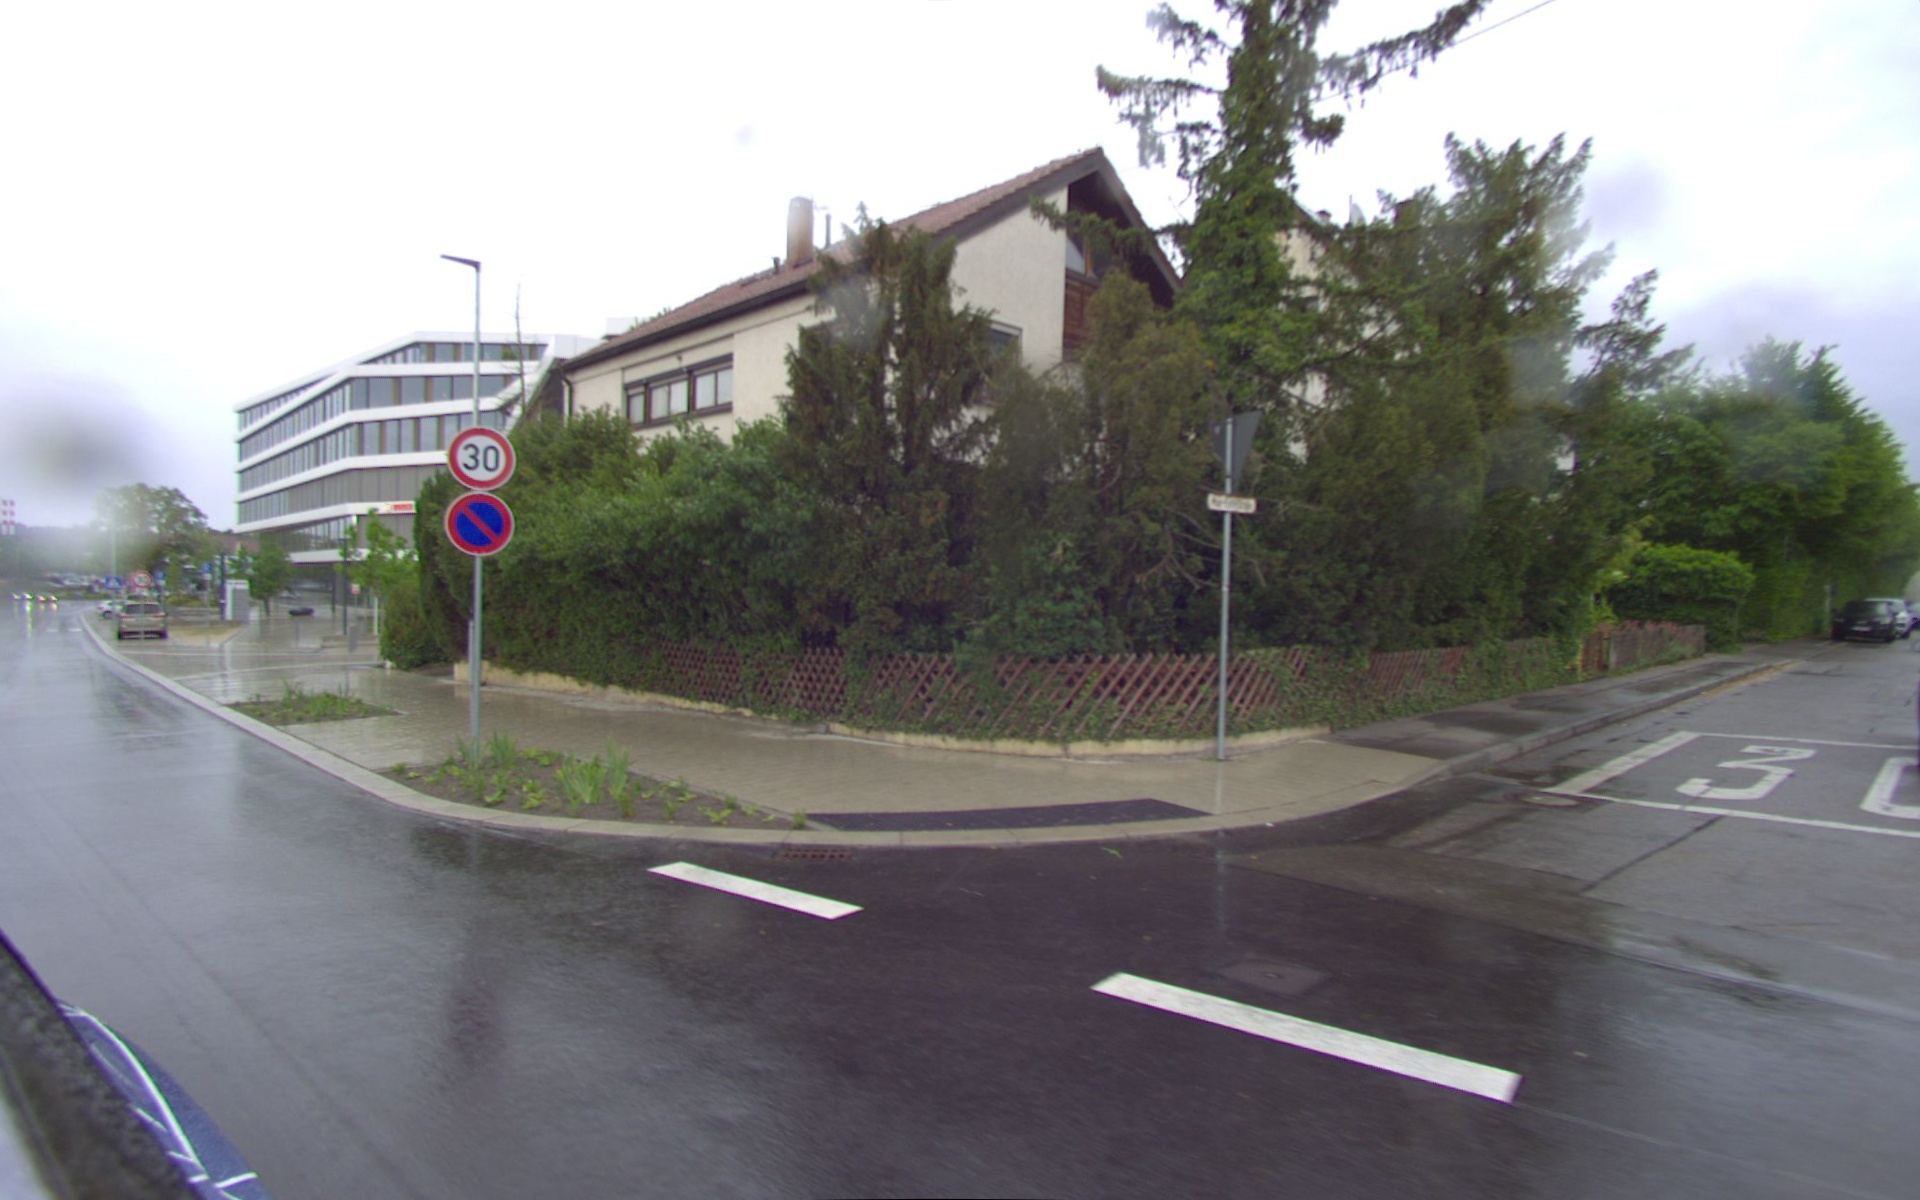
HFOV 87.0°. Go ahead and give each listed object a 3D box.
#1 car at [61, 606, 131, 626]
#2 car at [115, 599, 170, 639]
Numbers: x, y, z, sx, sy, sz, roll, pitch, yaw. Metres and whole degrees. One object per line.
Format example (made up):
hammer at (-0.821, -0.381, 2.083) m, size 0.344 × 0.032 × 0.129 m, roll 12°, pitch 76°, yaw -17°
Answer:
car at (-68.345, 1.230, 80.120) m, size 4.104 × 1.430 × 2.004 m, roll -2°, pitch 1°, yaw -38°
car at (-37.451, 0.827, 46.322) m, size 1.814 × 1.718 × 4.330 m, roll 0°, pitch 0°, yaw -41°
